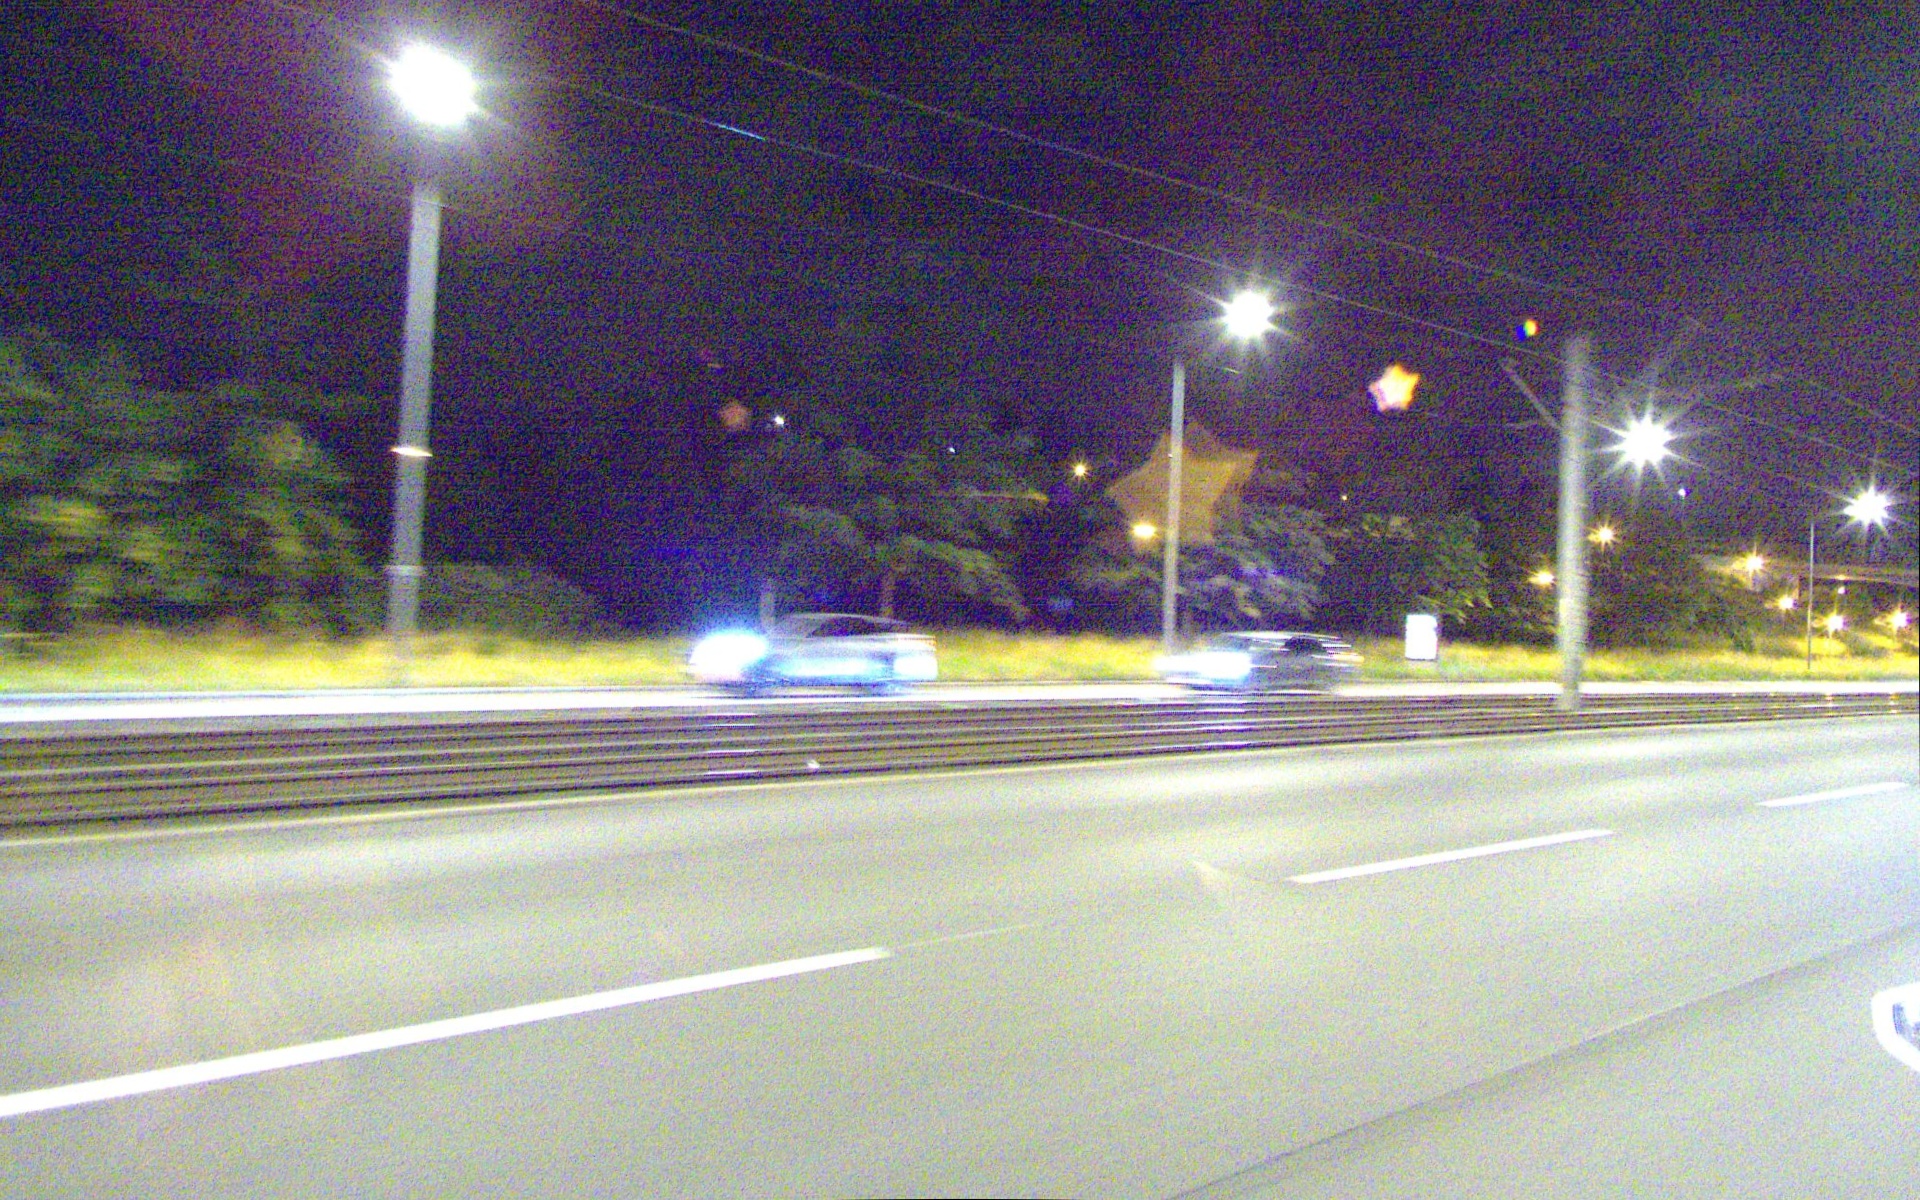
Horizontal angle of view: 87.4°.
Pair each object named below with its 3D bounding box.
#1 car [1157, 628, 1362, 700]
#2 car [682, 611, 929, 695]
[{"bbox_3d":[6.975,1.437,23.179,4.906,1.448,1.855,2,0,-34],"label":"car"},{"bbox_3d":[-3.074,1.063,20.230,4.557,1.534,1.854,2,-3,-29],"label":"car"}]
